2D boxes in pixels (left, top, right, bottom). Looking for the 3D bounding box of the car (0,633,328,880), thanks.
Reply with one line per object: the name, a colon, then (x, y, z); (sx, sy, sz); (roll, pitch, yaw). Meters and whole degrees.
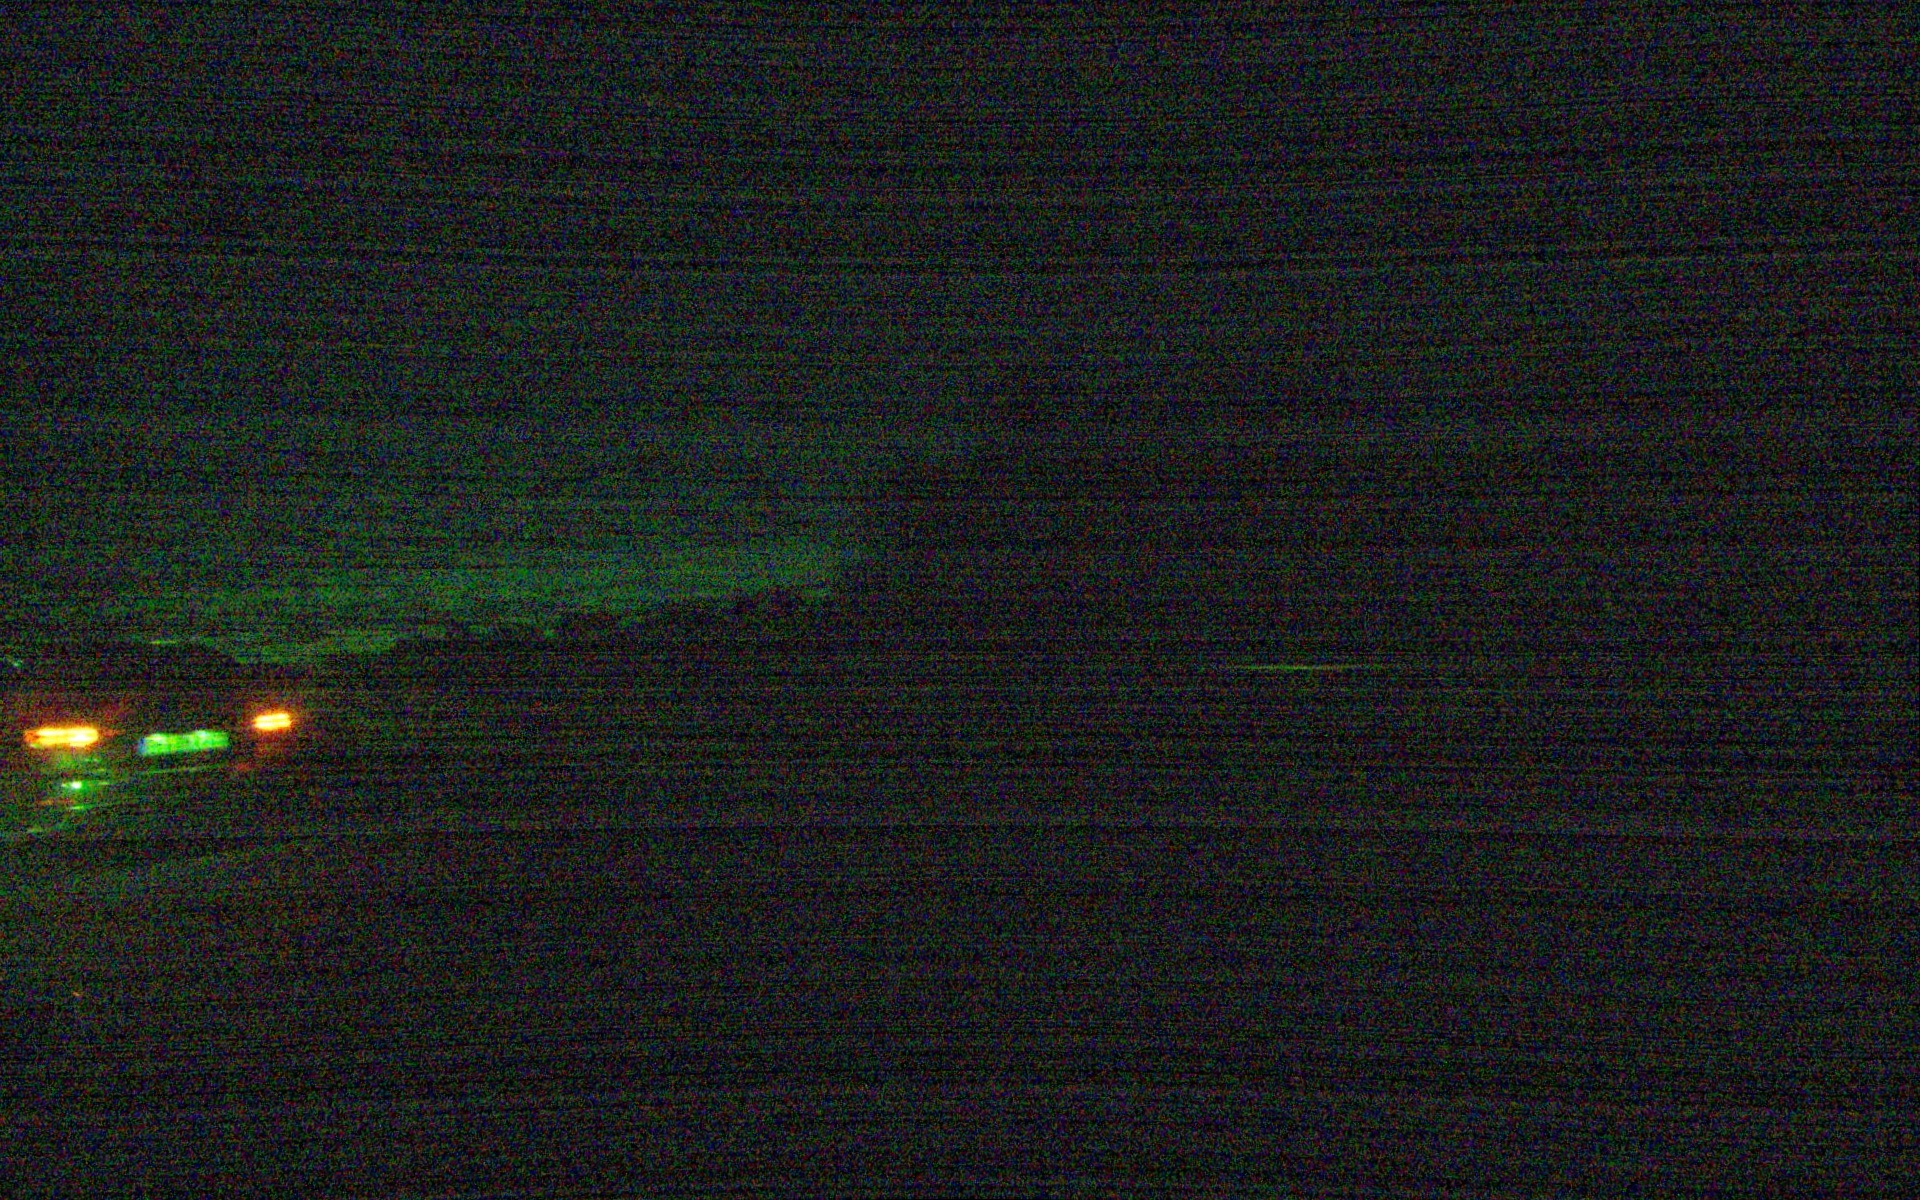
car: (-7.264, 1.008, 8.021); (4.804, 1.445, 1.805); (-1, -1, 32)
